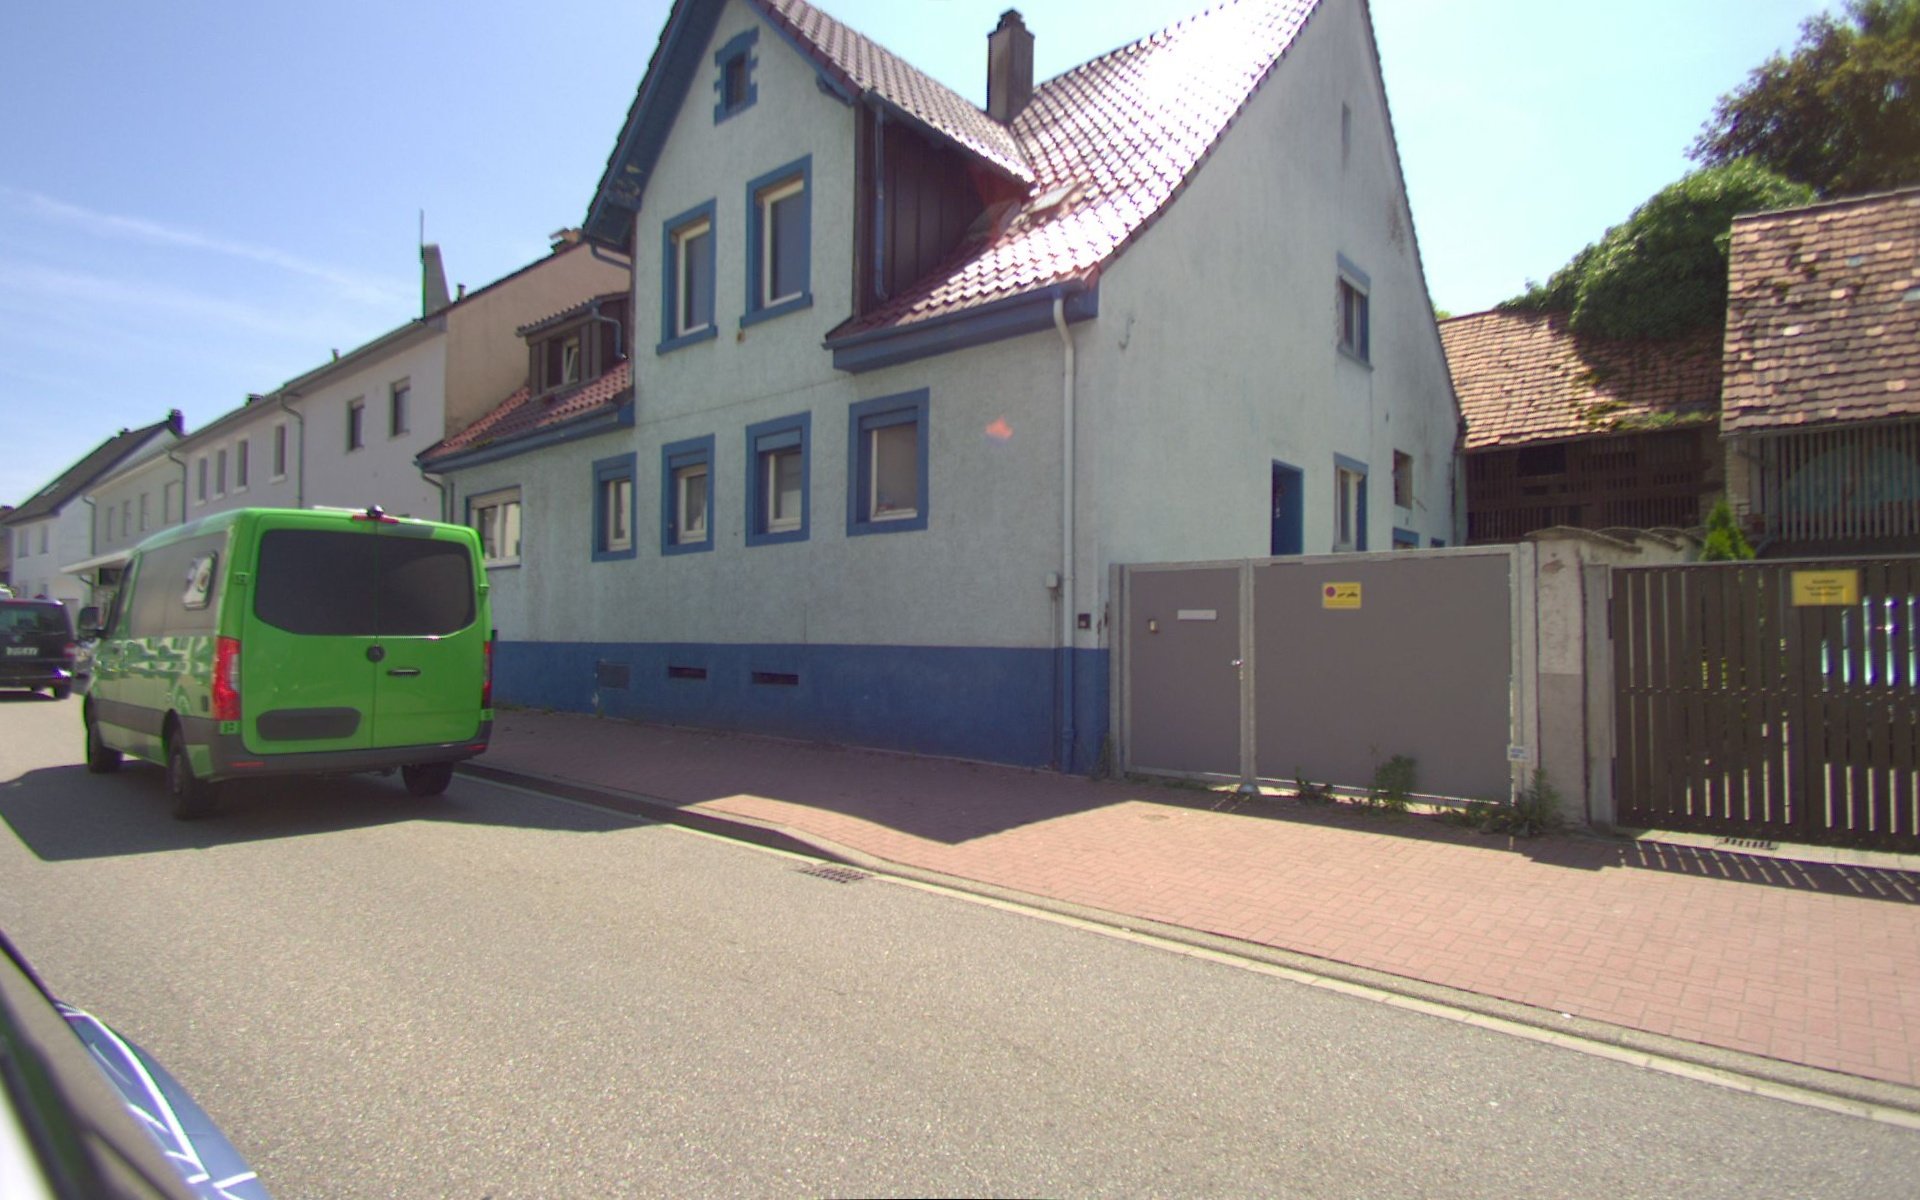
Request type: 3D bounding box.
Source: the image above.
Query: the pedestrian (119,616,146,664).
[{"bbox_3d":[-29.879,1.427,36.547,0.770,1.697,0.618,-2,-2,40],"label":"pedestrian"}]

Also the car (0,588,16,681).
[{"bbox_3d":[-29.128,0.993,29.130,5.457,2.562,2.103,-2,-3,40],"label":"car"}]

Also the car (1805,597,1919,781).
[{"bbox_3d":[9.443,0.743,9.928,1.730,1.513,3.910,-2,0,40],"label":"car"}]

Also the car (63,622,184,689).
[{"bbox_3d":[-22.338,1.421,26.955,4.563,1.569,1.789,-2,0,42],"label":"car"}]

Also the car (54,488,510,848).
[{"bbox_3d":[-6.614,0.549,9.473,6.079,2.372,2.029,-2,-3,42],"label":"car"}]

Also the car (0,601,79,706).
[{"bbox_3d":[-19.751,1.054,20.695,5.115,1.958,1.861,-2,-3,41],"label":"car"}]
